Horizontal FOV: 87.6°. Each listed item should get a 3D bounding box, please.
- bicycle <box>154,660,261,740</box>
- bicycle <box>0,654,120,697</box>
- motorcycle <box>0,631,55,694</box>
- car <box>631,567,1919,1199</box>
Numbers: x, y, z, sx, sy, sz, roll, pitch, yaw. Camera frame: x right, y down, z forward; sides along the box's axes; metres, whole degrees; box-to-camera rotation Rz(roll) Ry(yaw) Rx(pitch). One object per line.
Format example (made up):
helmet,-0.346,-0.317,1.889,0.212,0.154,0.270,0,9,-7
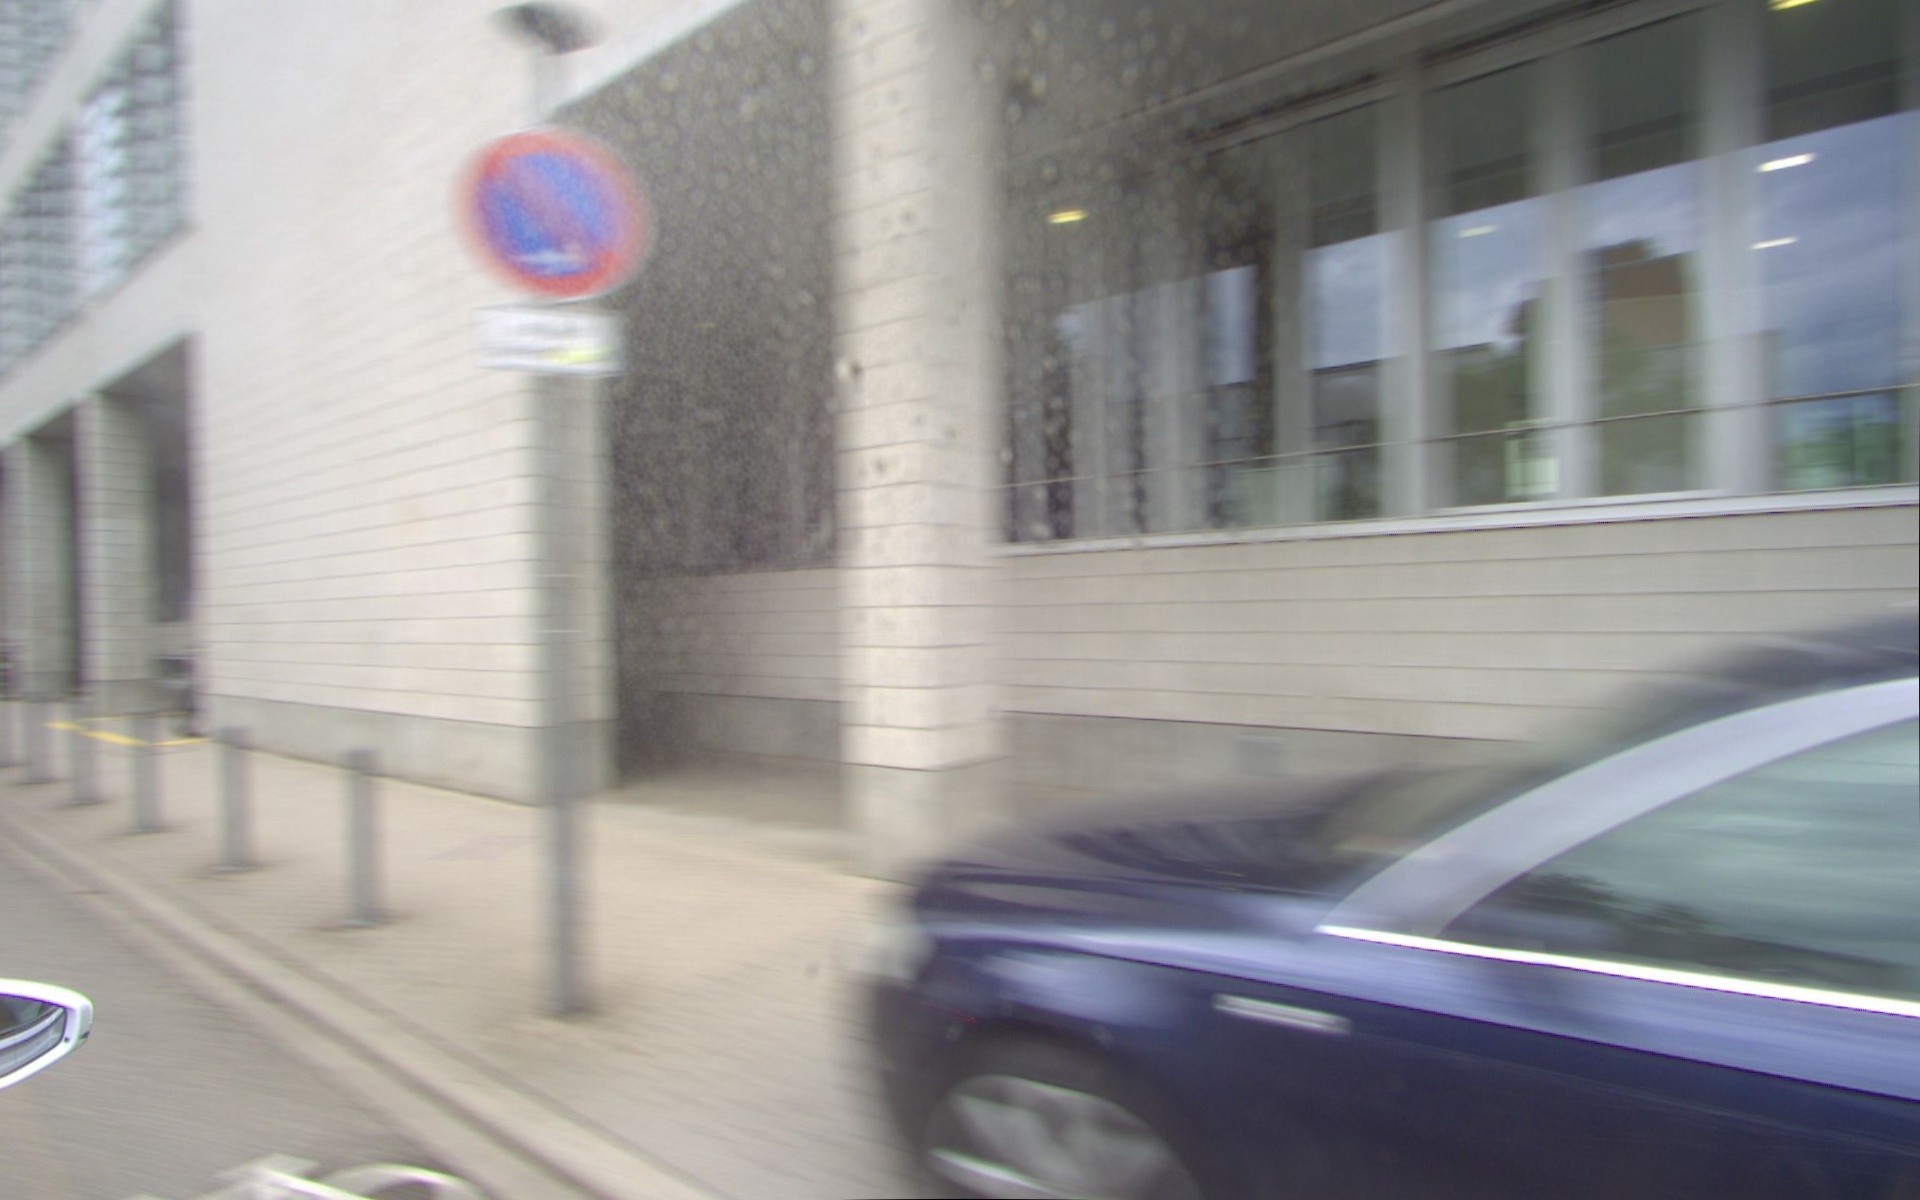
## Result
bicycle,-9.544,1.228,12.777,0.456,0.762,2.287,-5,2,-22
bicycle,-17.286,1.426,19.082,0.486,0.708,1.892,2,0,34
motorcycle,-19.759,1.288,21.013,0.559,1.163,2.206,1,0,-27
car,1.700,0.697,1.778,4.862,1.471,1.986,-2,-1,38
